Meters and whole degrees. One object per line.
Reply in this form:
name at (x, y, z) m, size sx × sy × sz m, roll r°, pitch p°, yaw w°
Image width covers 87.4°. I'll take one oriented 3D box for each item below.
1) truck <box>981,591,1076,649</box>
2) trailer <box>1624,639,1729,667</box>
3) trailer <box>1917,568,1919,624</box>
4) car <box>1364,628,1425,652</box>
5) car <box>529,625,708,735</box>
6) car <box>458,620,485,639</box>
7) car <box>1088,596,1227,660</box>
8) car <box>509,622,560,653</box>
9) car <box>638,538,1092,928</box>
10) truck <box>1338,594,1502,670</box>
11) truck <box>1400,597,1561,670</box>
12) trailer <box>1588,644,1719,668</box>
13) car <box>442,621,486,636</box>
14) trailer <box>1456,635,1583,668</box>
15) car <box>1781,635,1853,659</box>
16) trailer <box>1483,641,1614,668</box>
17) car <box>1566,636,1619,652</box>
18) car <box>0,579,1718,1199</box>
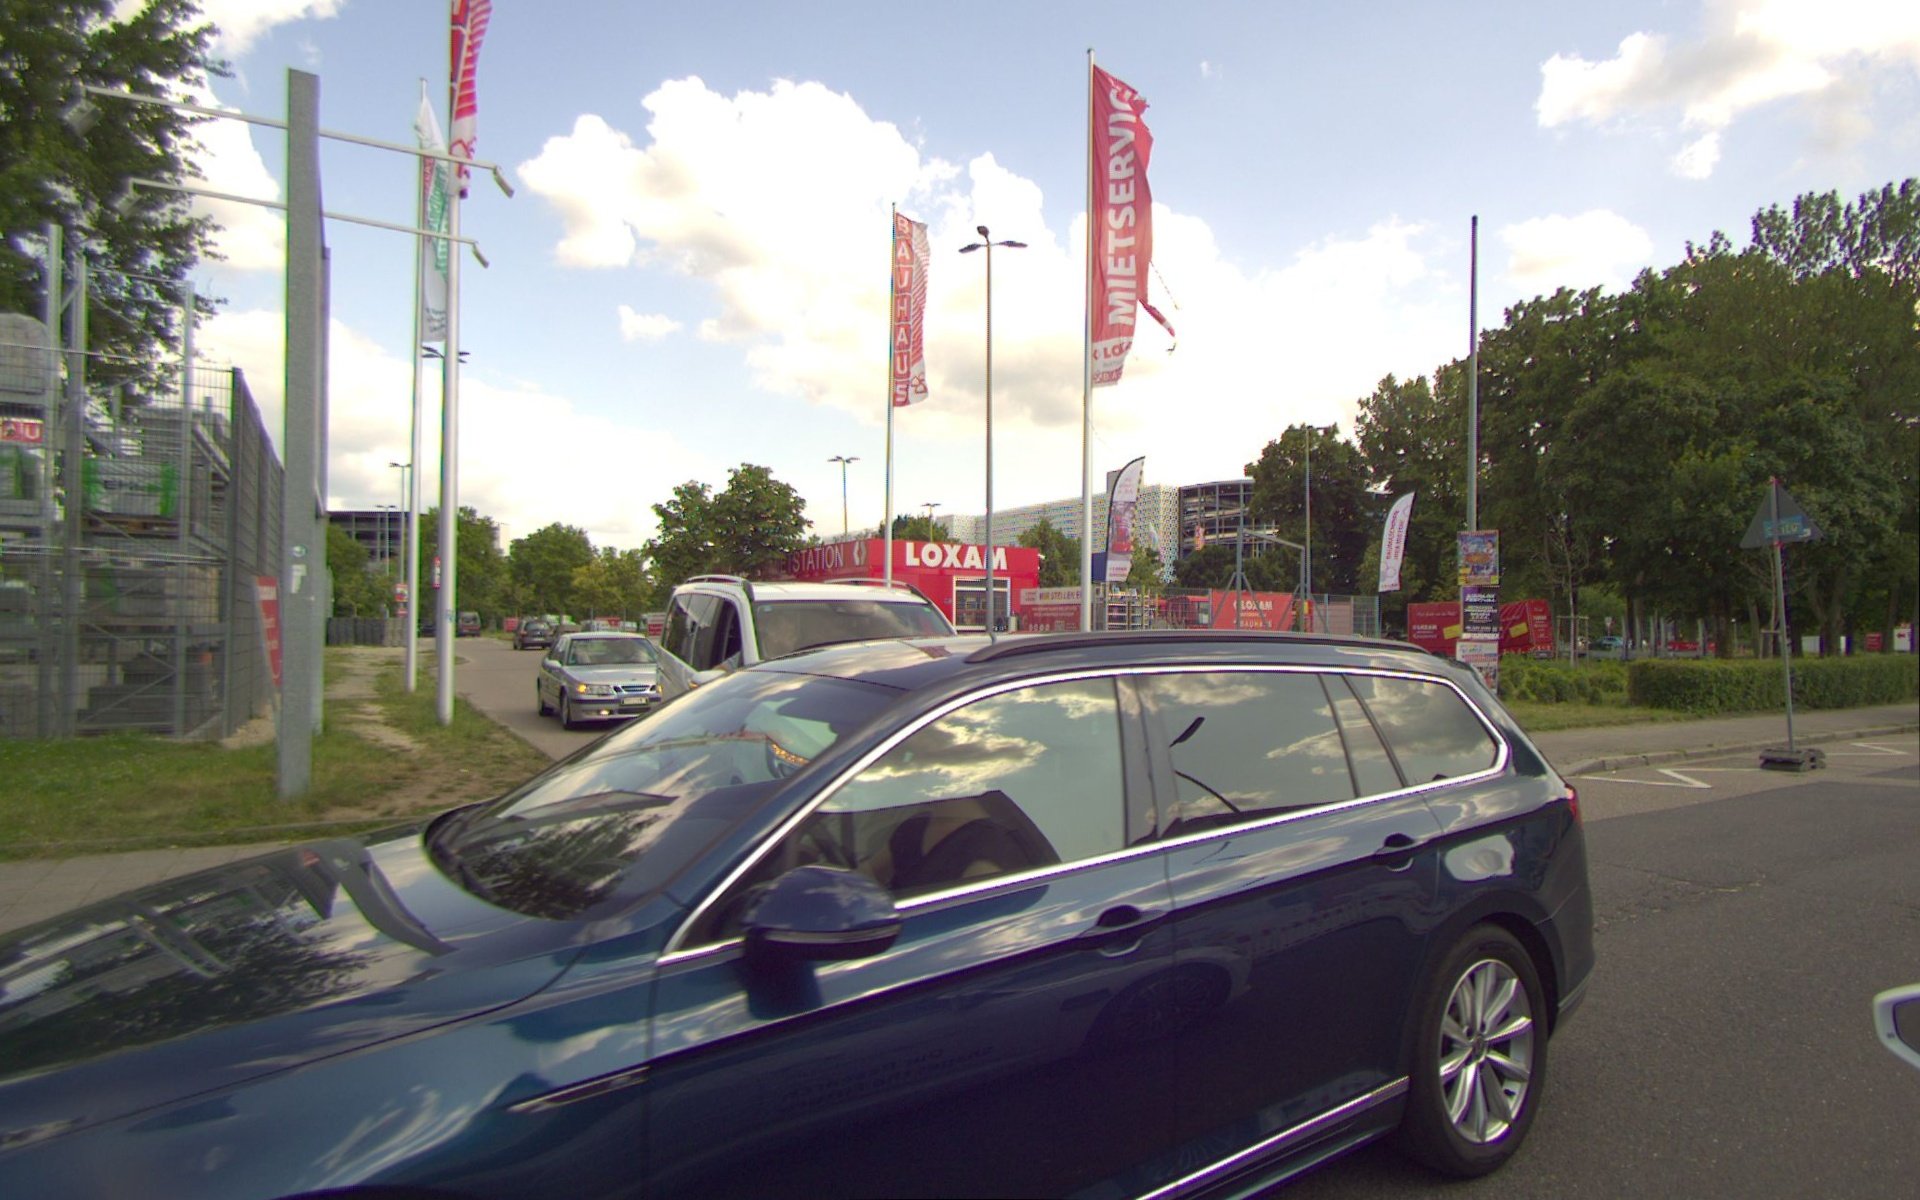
truck at (4.999, 1.479, 75.307) m, size 2.953 × 4.000 × 8.284 m, roll 3°, pitch -2°, yaw -30°
trailer at (34.231, 2.529, 48.092) m, size 1.691 × 1.206 × 3.806 m, roll 1°, pitch -1°, yaw -25°
trailer at (19.740, 0.831, 18.312) m, size 4.650 × 2.819 × 2.129 m, roll 1°, pitch -4°, yaw -32°
car at (29.239, 2.666, 67.539) m, size 4.309 × 1.531 × 1.560 m, roll 2°, pitch -2°, yaw -32°
car at (-5.665, 1.164, 16.251) m, size 1.931 × 1.473 × 4.663 m, roll 1°, pitch -1°, yaw -29°
car at (-44.062, 2.643, 90.478) m, size 1.948 × 1.650 × 4.086 m, roll 1°, pitch -1°, yaw -29°
car at (9.162, 1.351, 46.388) m, size 6.365 × 2.627 × 2.255 m, roll 4°, pitch -2°, yaw -31°
car at (-23.429, 2.032, 55.269) m, size 1.978 × 1.632 × 4.100 m, roll 1°, pitch -2°, yaw -32°
car at (-1.152, 0.736, 7.794) m, size 1.965 × 1.975 × 4.986 m, roll 1°, pitch -1°, yaw -25°
truck at (17.338, 1.209, 38.217) m, size 1.793 × 2.627 × 5.731 m, roll 3°, pitch -2°, yaw -28°
truck at (20.277, 1.301, 39.431) m, size 1.759 × 2.627 × 5.522 m, roll 3°, pitch -2°, yaw -30°
trailer at (32.125, 2.570, 46.664) m, size 2.158 × 0.925 × 4.581 m, roll 1°, pitch -1°, yaw -25°
car at (-52.387, 2.995, 106.130) m, size 1.837 × 1.476 × 4.120 m, roll 0°, pitch -1°, yaw 16°
trailer at (22.416, 2.061, 40.405) m, size 1.654 × 1.135 × 4.211 m, roll 4°, pitch -3°, yaw -32°
car at (86.451, 4.705, 101.406) m, size 1.779 × 2.240 × 5.254 m, roll 2°, pitch -2°, yaw -33°
trailer at (24.387, 2.255, 41.755) m, size 2.136 × 0.924 × 4.211 m, roll 4°, pitch -3°, yaw -32°
car at (60.703, 4.217, 96.413) m, size 1.778 × 1.424 × 3.995 m, roll 1°, pitch -2°, yaw -32°
car at (0.104, 0.787, 2.842) m, size 4.335 × 1.478 × 1.787 m, roll 1°, pitch -3°, yaw -31°
